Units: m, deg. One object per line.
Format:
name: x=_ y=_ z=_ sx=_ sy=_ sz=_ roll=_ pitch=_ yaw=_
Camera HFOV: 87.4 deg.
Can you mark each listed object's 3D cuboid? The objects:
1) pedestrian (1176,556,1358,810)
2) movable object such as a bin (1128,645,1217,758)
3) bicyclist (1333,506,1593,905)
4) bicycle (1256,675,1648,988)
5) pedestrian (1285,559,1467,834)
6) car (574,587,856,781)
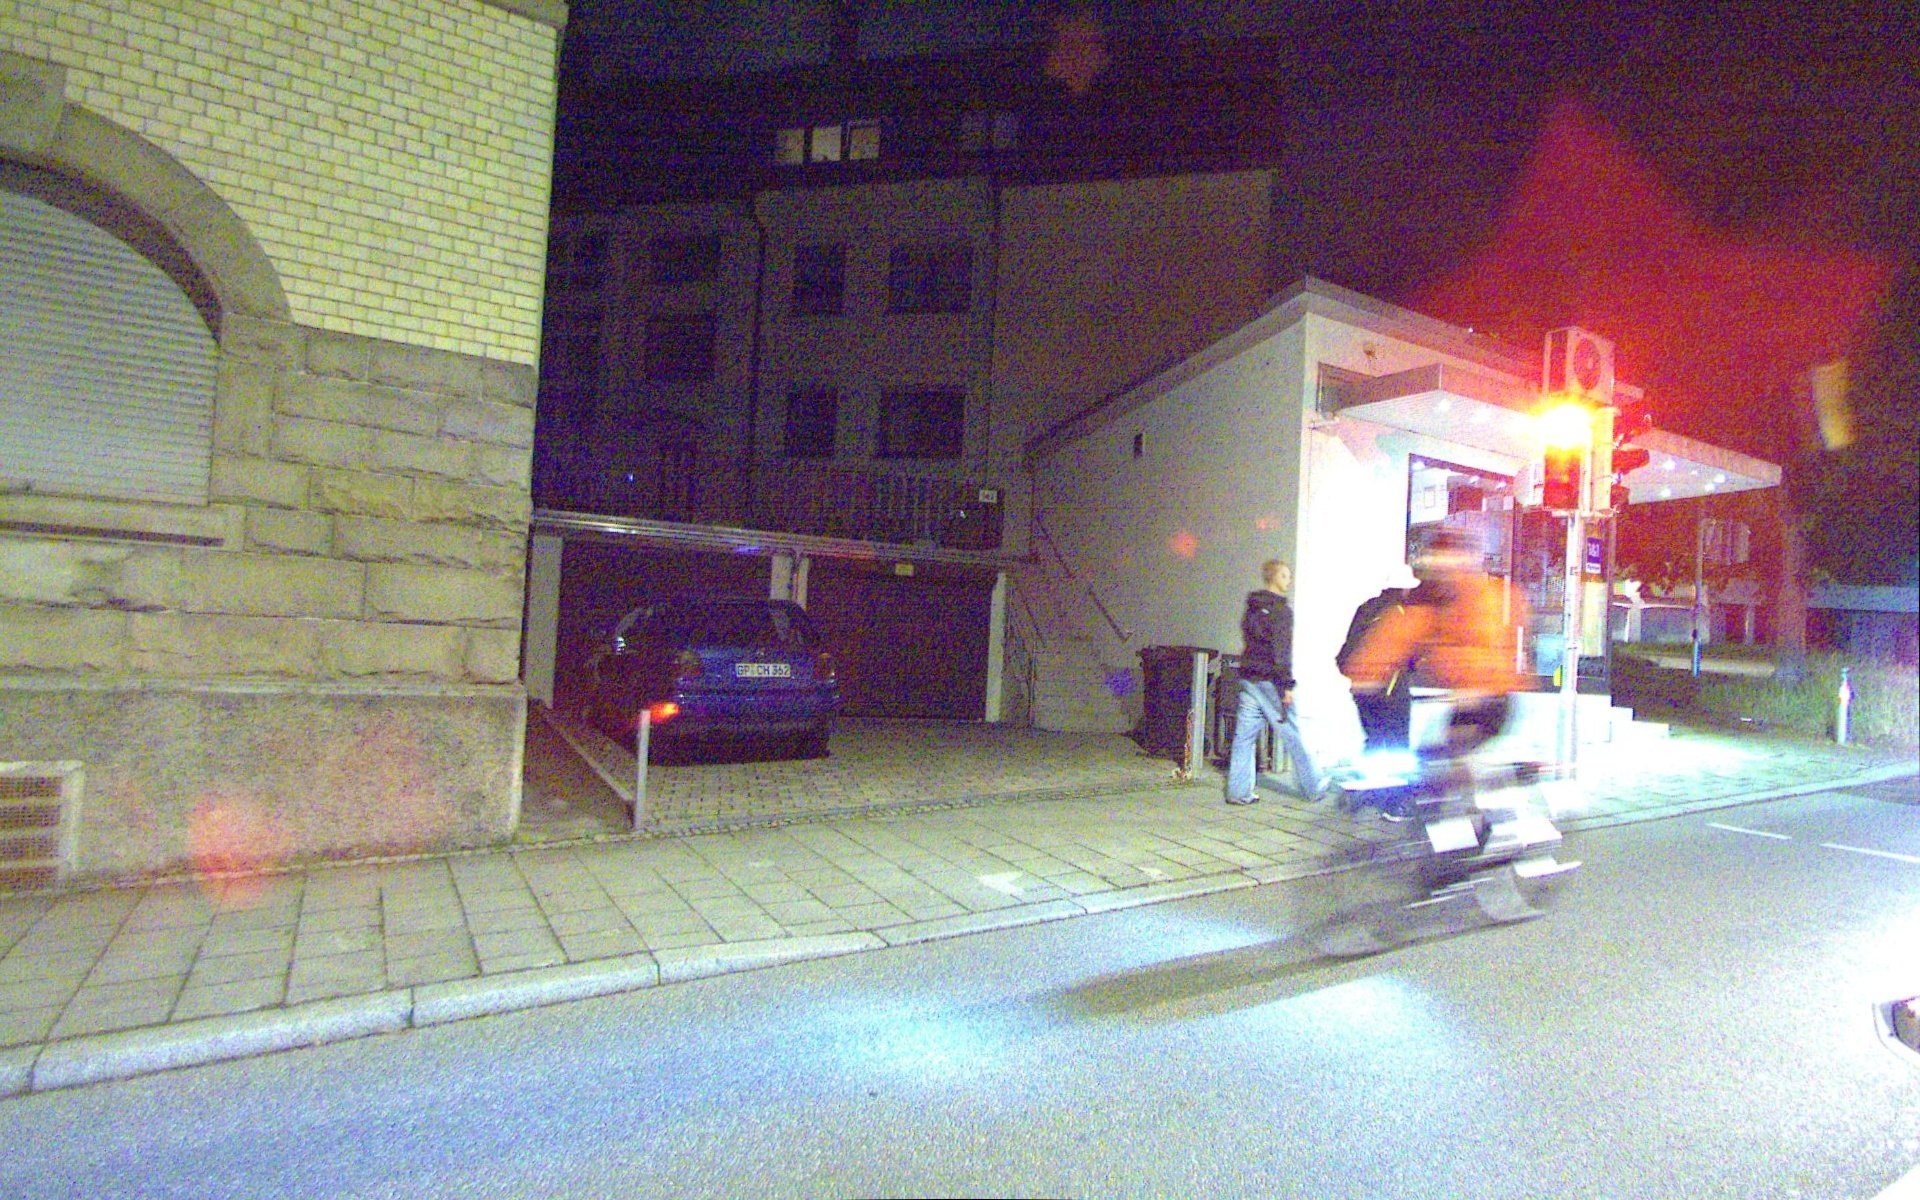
pedestrian: x=2.317 y=0.590 z=7.589 sx=1.091 sy=1.768 sz=0.738 roll=2 pitch=0 yaw=-31
movable object such as a bin: x=2.114 y=0.999 z=10.027 sx=0.643 sy=1.063 sz=0.639 roll=2 pitch=0 yaw=-12
bicyclist: x=2.344 y=0.451 z=4.702 sx=0.886 sy=1.659 sz=0.687 roll=2 pitch=0 yaw=-30
bicycle: x=2.356 y=0.969 z=4.734 sx=1.928 sy=1.164 sz=0.693 roll=2 pitch=0 yaw=-30
pedestrian: x=2.901 y=0.632 z=7.007 sx=1.017 sy=1.768 sz=0.672 roll=2 pitch=0 yaw=-31
car: x=-2.455 y=0.652 z=9.497 sx=1.655 sy=1.470 sz=3.341 roll=2 pitch=-1 yaw=-31
